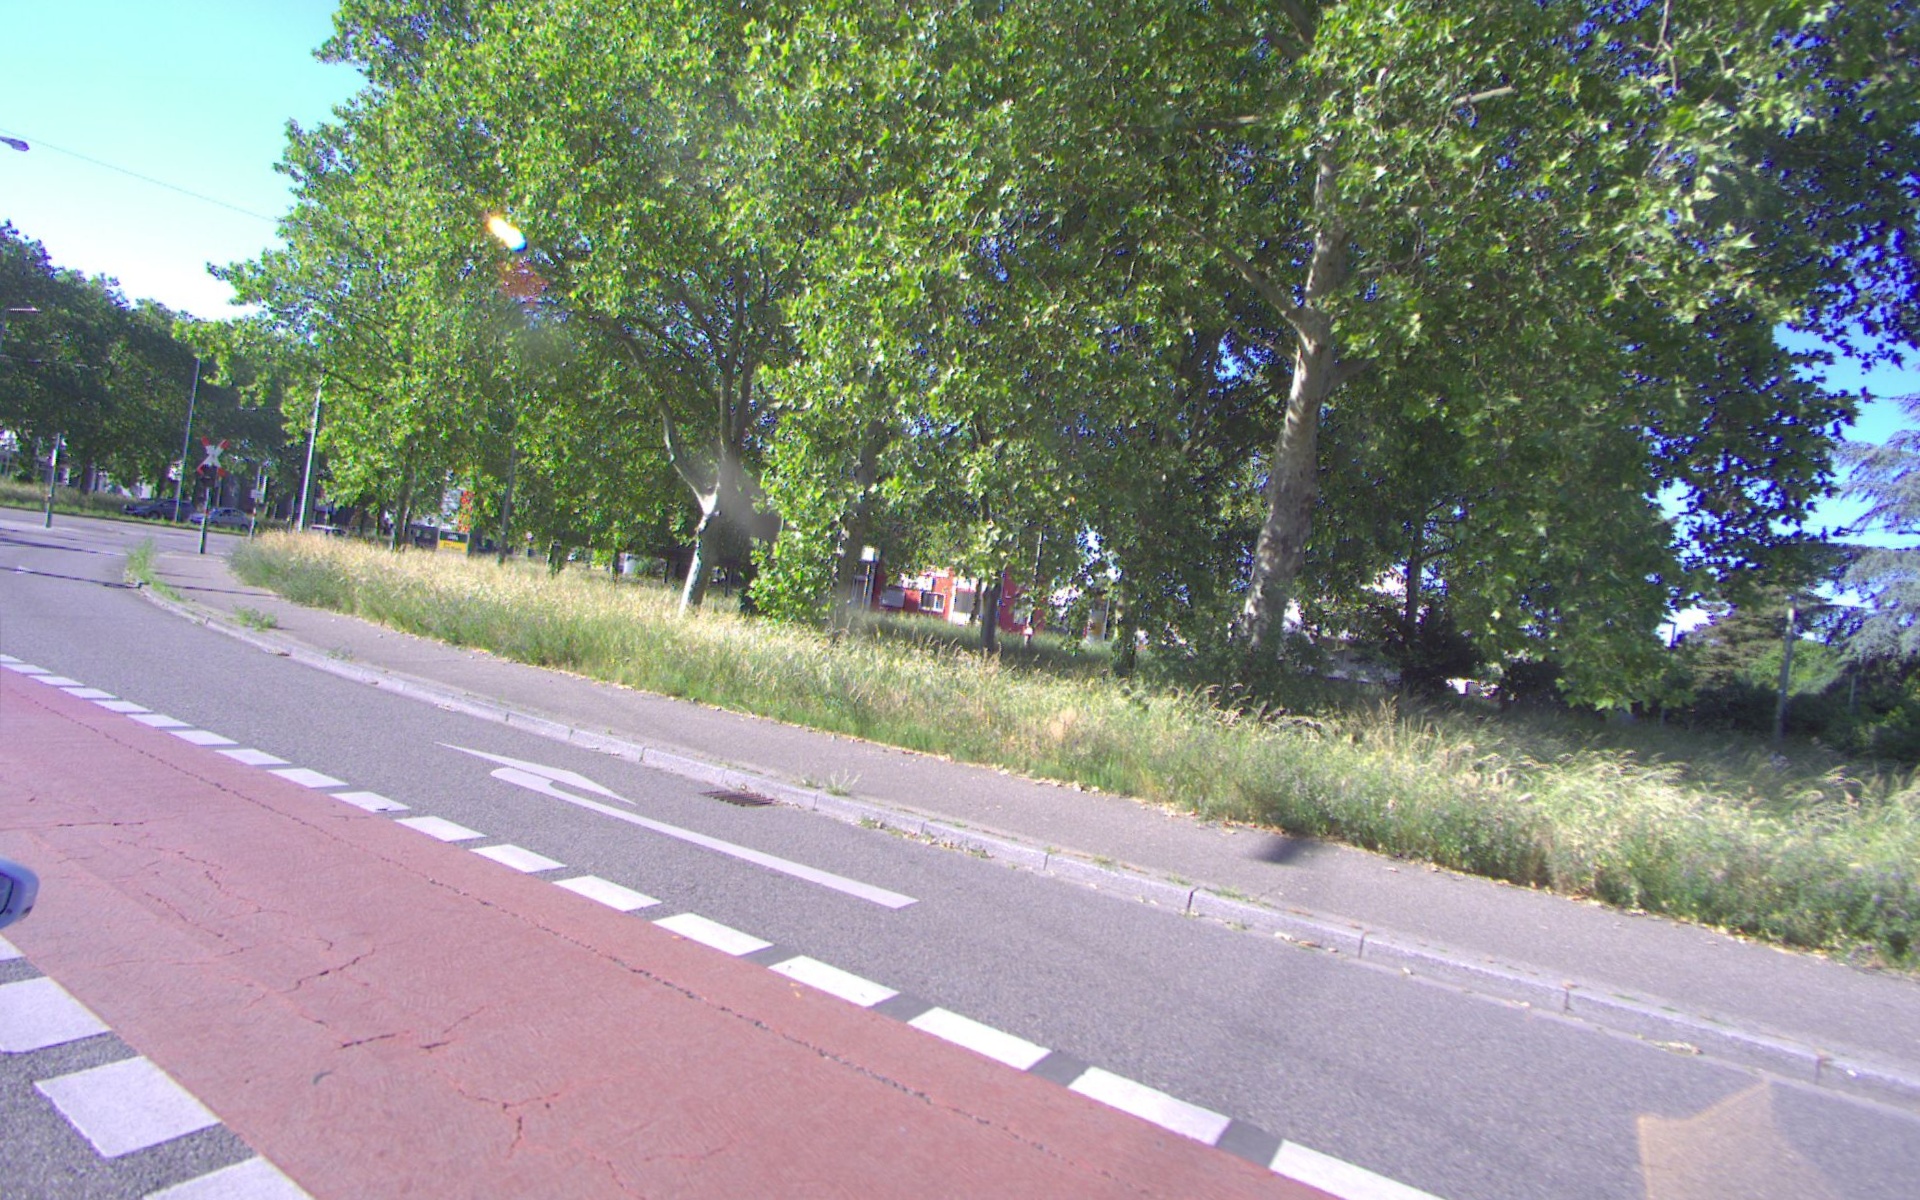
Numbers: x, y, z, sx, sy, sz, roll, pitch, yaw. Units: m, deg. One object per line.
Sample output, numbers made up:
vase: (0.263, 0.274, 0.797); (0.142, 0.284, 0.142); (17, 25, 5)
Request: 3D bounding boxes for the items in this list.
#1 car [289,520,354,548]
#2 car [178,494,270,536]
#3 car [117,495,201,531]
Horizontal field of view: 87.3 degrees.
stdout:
car: (-51.258, -5.259, 80.876); (1.661, 1.593, 4.528); (8, -1, 10)
car: (-49.882, -5.708, 68.337); (1.962, 2.037, 4.907); (8, -1, 9)
car: (-53.468, -5.784, 67.209); (1.845, 1.596, 4.006); (8, -2, 11)
